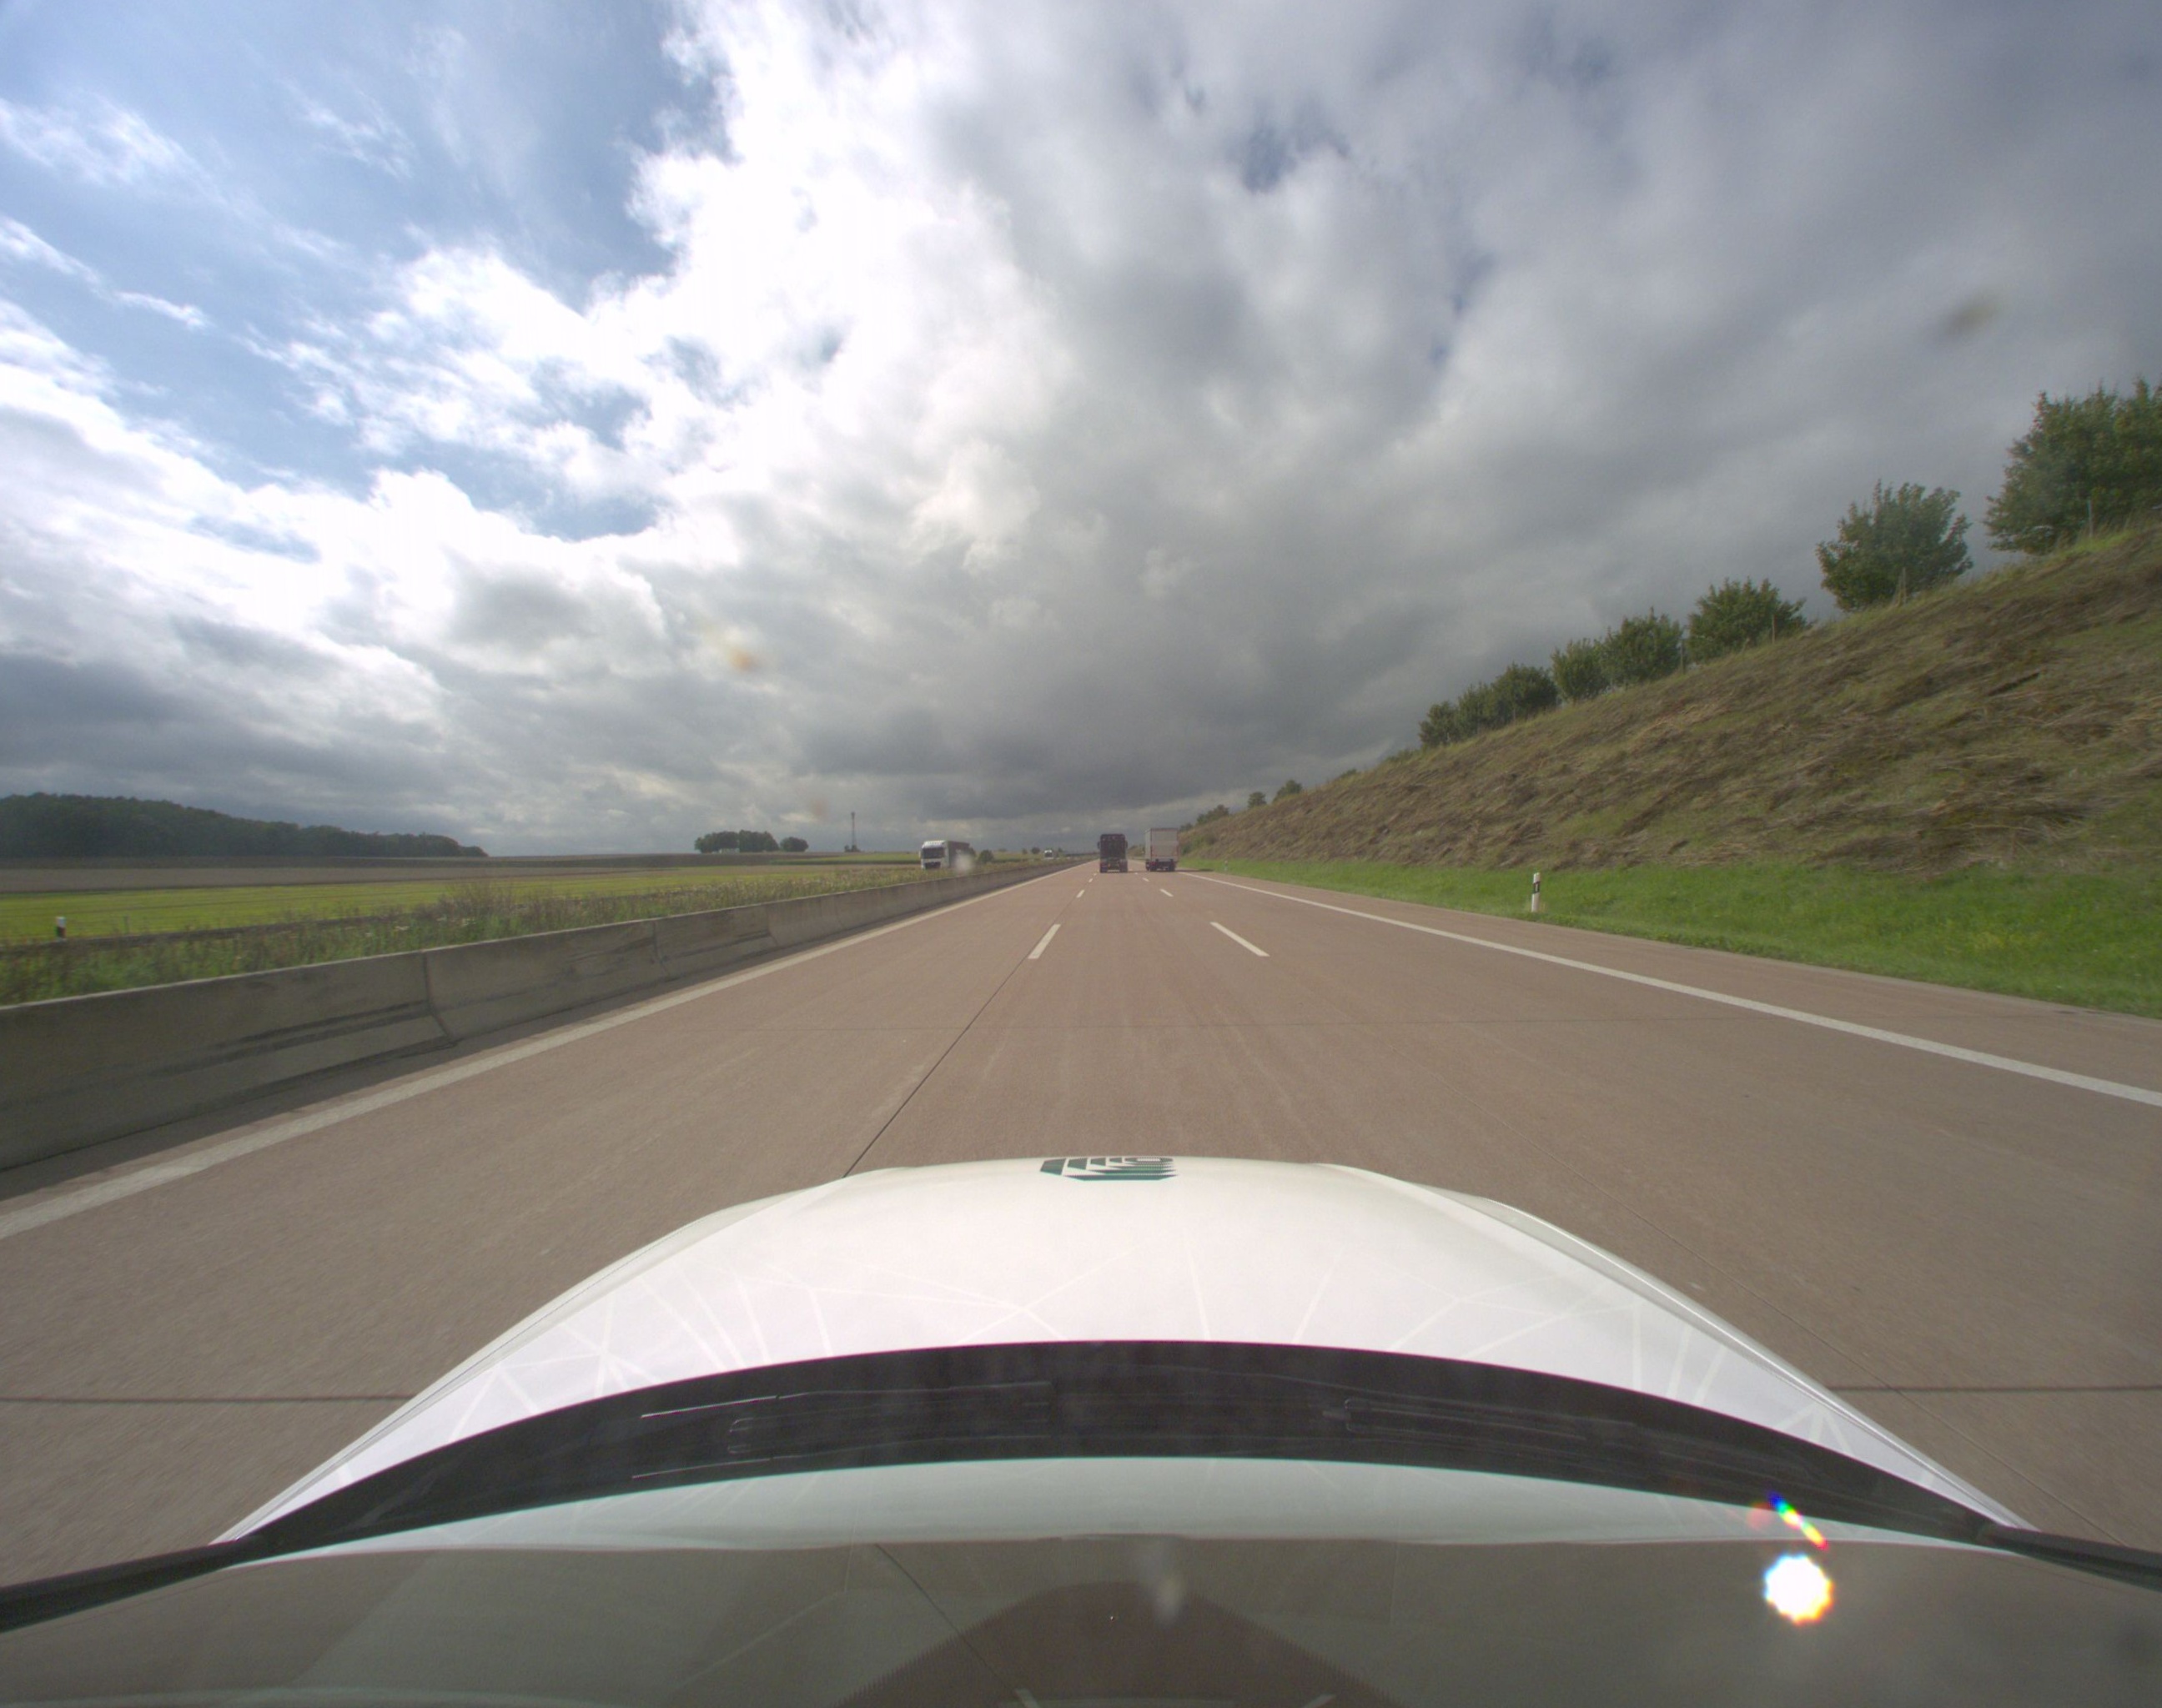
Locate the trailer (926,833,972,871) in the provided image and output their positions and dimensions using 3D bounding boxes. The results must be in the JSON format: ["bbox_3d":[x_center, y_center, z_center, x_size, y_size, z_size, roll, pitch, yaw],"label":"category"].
[{"bbox_3d":[-15.394,-0.215,96.248,2.760,3.959,14.334,-2,0,1],"label":"trailer"}]

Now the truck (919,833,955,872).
[{"bbox_3d":[-15.560,-0.177,88.352,2.760,3.959,5.291,-2,0,1],"label":"truck"}]

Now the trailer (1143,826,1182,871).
[{"bbox_3d":[7.592,-0.462,77.004,2.738,4.012,8.669,-1,0,0],"label":"trailer"}]

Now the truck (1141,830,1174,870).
[{"bbox_3d":[7.588,-0.361,81.247,2.740,3.892,4.545,-1,-1,0],"label":"truck"}]

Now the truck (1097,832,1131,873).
[{"bbox_3d":[3.031,-0.091,76.040,2.838,3.550,8.319,-1,0,0],"label":"truck"}]
